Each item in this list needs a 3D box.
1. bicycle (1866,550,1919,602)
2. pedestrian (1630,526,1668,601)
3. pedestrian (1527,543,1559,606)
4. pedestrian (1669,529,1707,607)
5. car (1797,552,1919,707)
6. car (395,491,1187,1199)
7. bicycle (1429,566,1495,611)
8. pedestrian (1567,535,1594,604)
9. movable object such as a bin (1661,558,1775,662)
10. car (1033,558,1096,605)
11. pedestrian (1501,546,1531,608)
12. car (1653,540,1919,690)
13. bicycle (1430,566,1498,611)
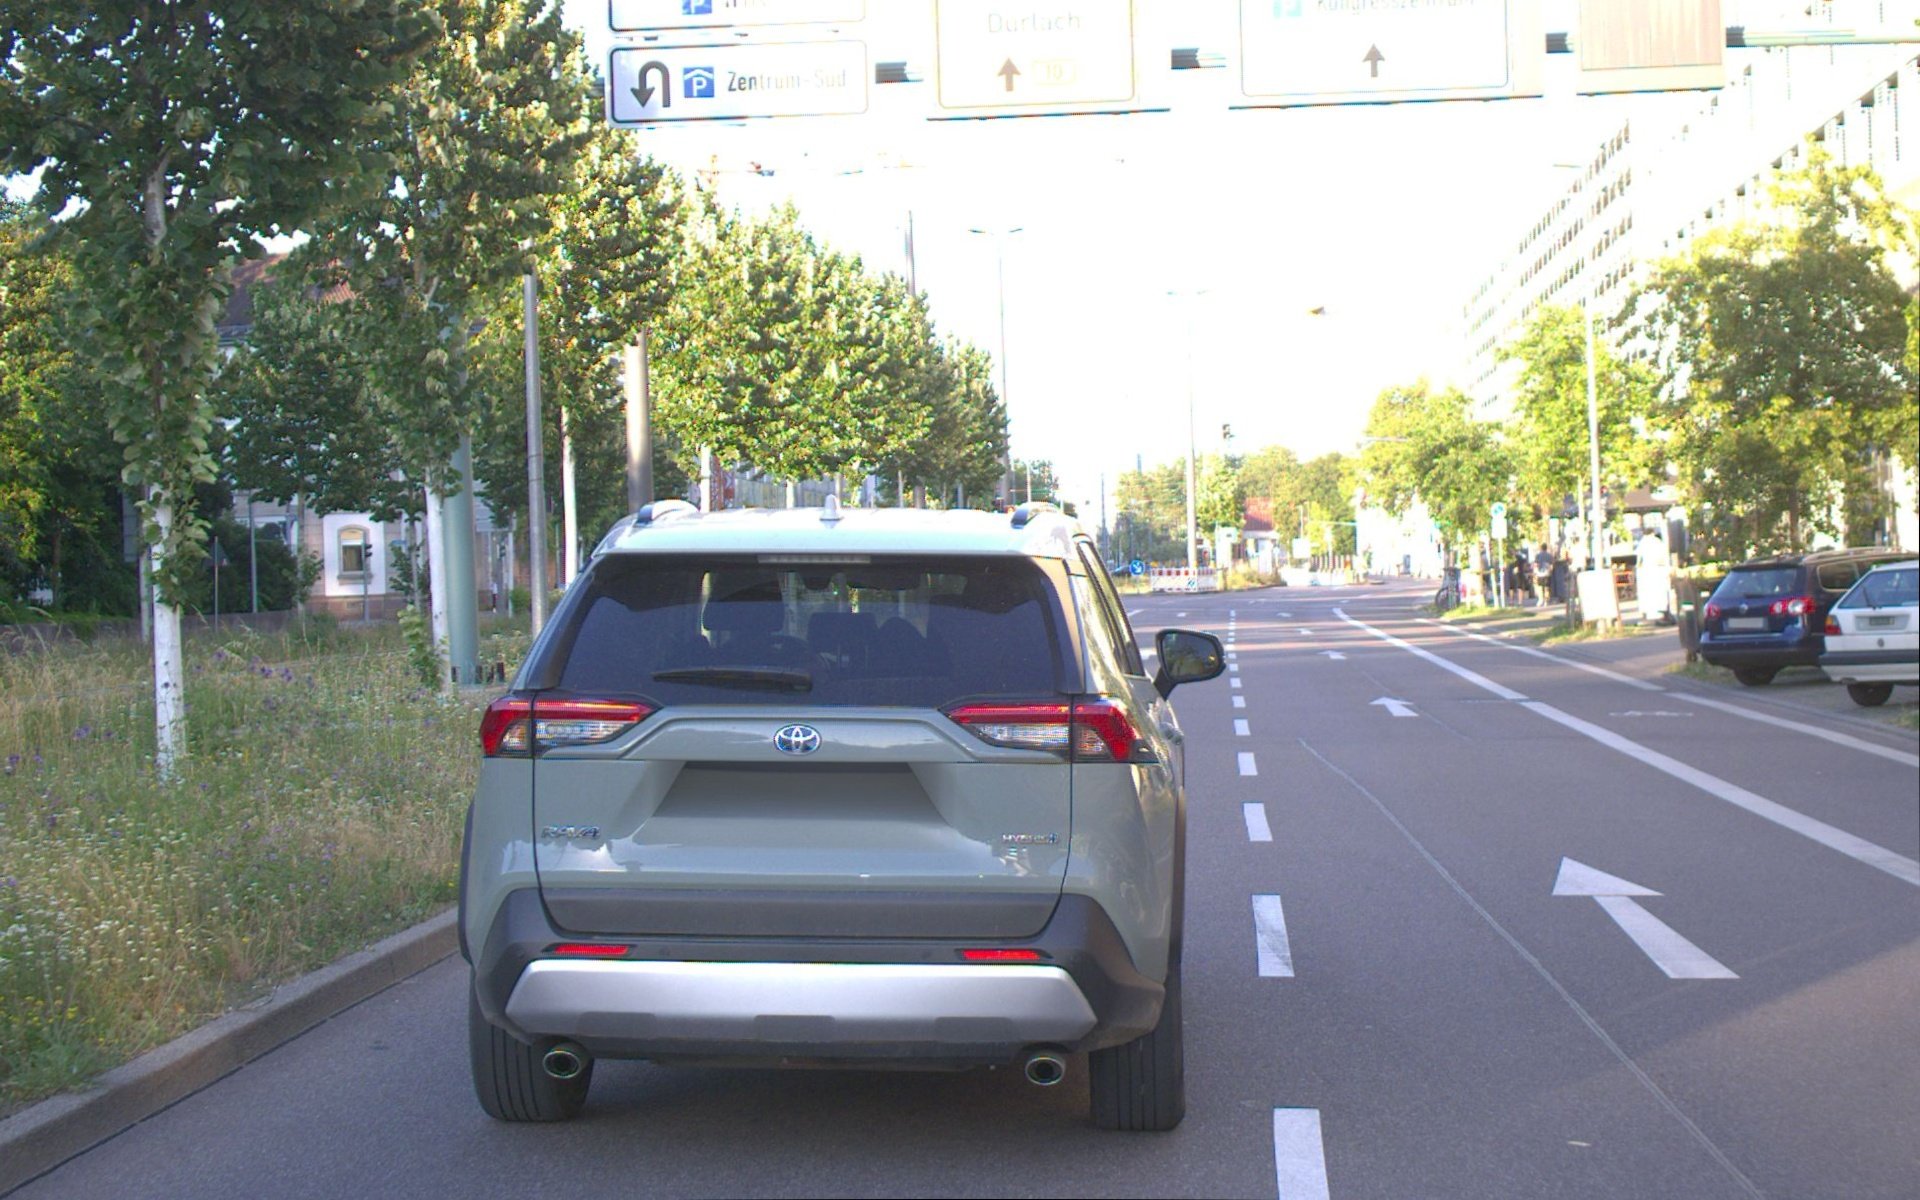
[{"bbox_3d":[19.179,-0.498,69.214,1.699,0.983,0.551,-4,1,1],"label":"bicycle"},{"bbox_3d":[17.789,-0.932,88.723,0.825,1.882,0.866,-3,-1,13],"label":"pedestrian"},{"bbox_3d":[16.305,-0.718,96.177,0.685,1.729,0.761,-4,0,4],"label":"pedestrian"},{"bbox_3d":[17.759,-0.779,83.870,0.744,1.842,0.940,-4,0,14],"label":"pedestrian"},{"bbox_3d":[10.291,0.188,33.682,3.979,1.412,1.751,-4,0,-34],"label":"car"},{"bbox_3d":[-0.263,0.548,10.149,1.834,1.667,4.282,0,1,4],"label":"car"},{"bbox_3d":[14.800,-0.346,101.318,1.793,1.189,0.568,-4,0,0],"label":"bicycle"},{"bbox_3d":[16.330,-0.788,90.486,0.576,1.780,0.828,-3,-1,12],"label":"pedestrian"},{"bbox_3d":[10.011,0.125,45.460,1.084,1.297,1.361,-4,1,-2],"label":"movable object such as a bin"},{"bbox_3d":[3.119,-0.550,101.946,1.674,1.347,4.000,0,1,4],"label":"car"},{"bbox_3d":[15.542,-0.655,96.144,0.653,1.696,0.689,-4,0,4],"label":"pedestrian"},{"bbox_3d":[10.487,0.121,40.139,4.655,1.503,1.939,-4,0,-35],"label":"car"},{"bbox_3d":[14.593,-0.321,99.509,1.847,1.178,0.608,-4,0,4],"label":"bicycle"}]
